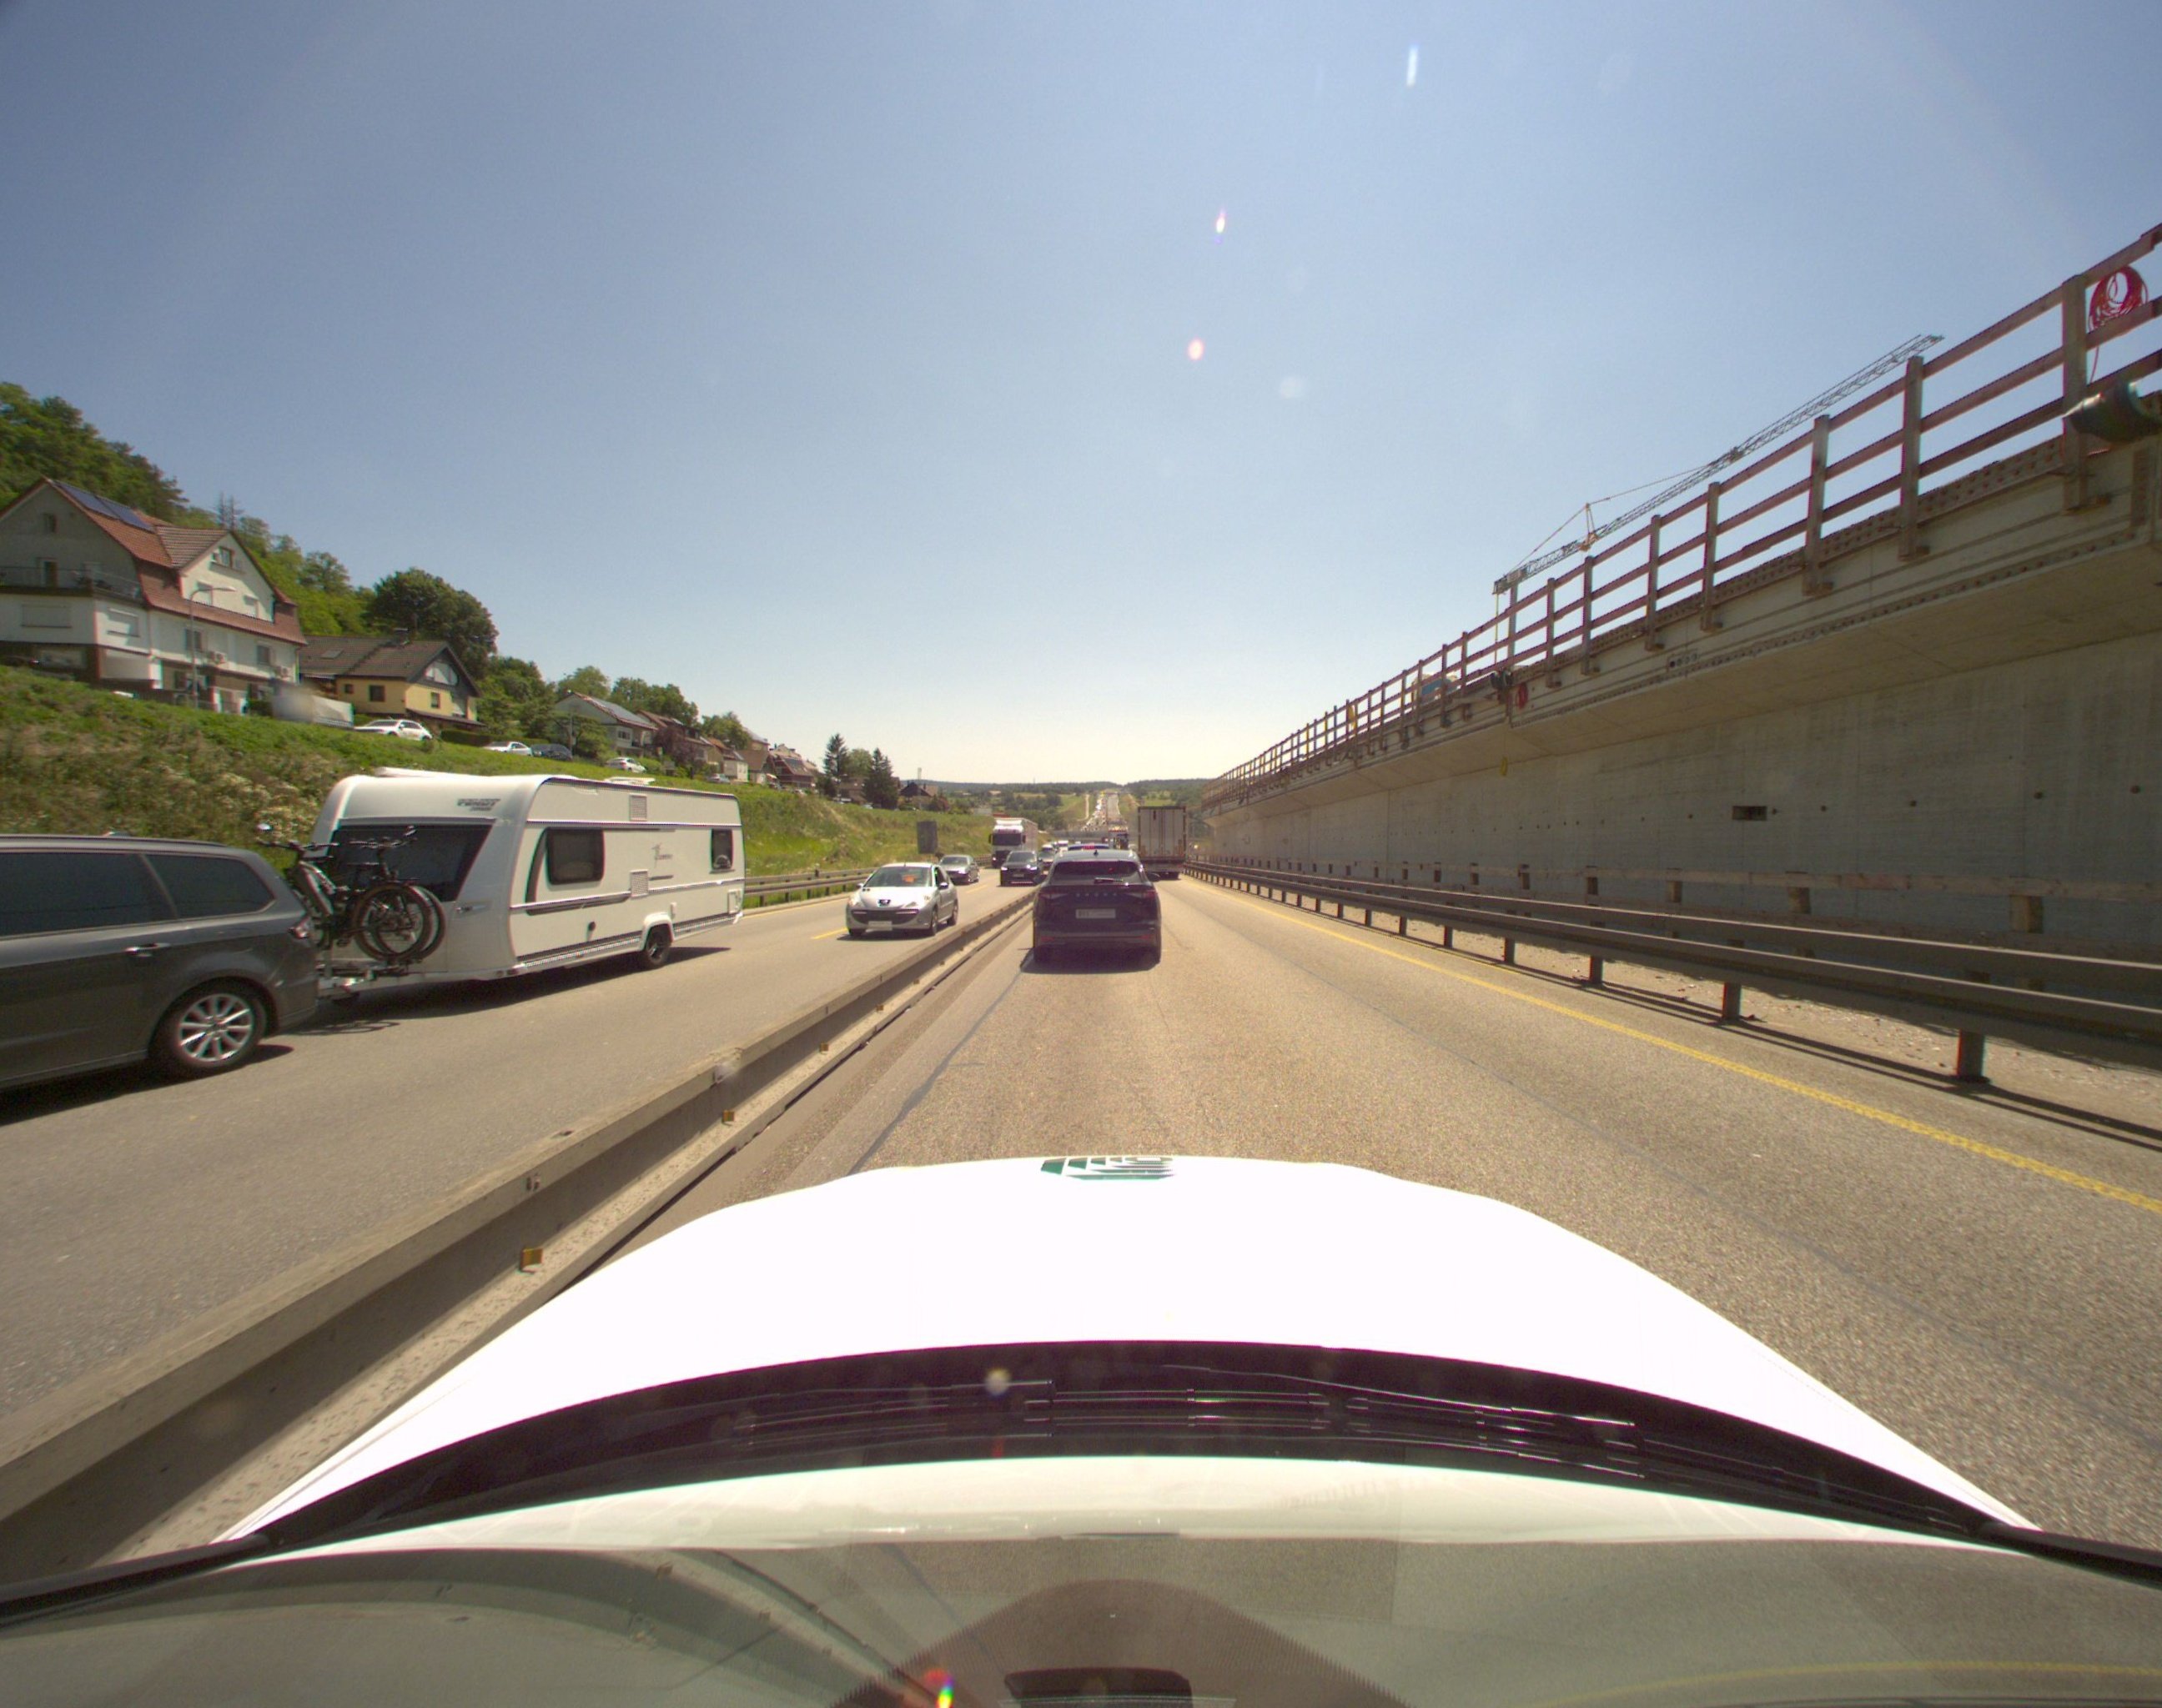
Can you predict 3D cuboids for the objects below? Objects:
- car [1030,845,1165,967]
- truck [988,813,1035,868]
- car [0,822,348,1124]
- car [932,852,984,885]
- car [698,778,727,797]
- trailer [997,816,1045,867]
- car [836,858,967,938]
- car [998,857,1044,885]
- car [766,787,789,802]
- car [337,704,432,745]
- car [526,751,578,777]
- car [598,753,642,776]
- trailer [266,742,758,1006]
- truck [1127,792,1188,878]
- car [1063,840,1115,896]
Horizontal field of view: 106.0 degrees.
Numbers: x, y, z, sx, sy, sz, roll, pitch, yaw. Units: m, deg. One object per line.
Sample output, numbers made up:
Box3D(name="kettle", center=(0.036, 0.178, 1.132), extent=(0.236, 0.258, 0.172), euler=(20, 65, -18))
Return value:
Box3D(name="car", center=(0.212, 0.697, 12.614), extent=(1.777, 1.597, 3.754), euler=(0, 0, 0))
Box3D(name="truck", center=(-5.729, -1.023, 68.429), extent=(2.743, 4.227, 8.102), euler=(3, -1, 2))
Box3D(name="car", center=(-7.083, 0.682, 4.432), extent=(1.870, 1.712, 4.649), euler=(0, 0, 2))
Box3D(name="car", center=(-6.134, 0.719, 40.961), extent=(1.866, 1.442, 4.000), euler=(3, -1, 0))
Box3D(name="car", center=(-40.501, -7.341, 89.617), extent=(1.925, 1.728, 3.987), euler=(0, 0, -9))
Box3D(name="trailer", center=(-5.442, -0.958, 76.964), extent=(2.750, 4.273, 14.638), euler=(3, -1, 2))
Box3D(name="car", center=(-3.565, 0.838, 16.913), extent=(1.696, 1.441, 4.001), euler=(-1, -1, 2))
Box3D(name="car", center=(-2.831, 0.814, 39.309), extent=(1.765, 1.288, 4.001), euler=(0, -1, 2))
Box3D(name="car", center=(-42.351, -8.318, 113.740), extent=(1.748, 1.728, 4.000), euler=(0, 0, 1))
Box3D(name="car", center=(-36.885, -6.831, 43.282), extent=(1.994, 1.320, 3.986), euler=(4, -1, -10))
Box3D(name="car", center=(-37.986, -6.453, 58.554), extent=(1.590, 1.419, 3.988), euler=(0, 0, -9))
Box3D(name="car", center=(-39.728, -7.702, 70.309), extent=(1.994, 1.320, 3.986), euler=(4, -1, -10))
Box3D(name="trailer", center=(-6.939, 0.250, 11.181), extent=(2.475, 2.613, 5.869), euler=(-1, -1, 2))
Box3D(name="truck", center=(4.479, -0.928, 49.994), extent=(2.835, 4.615, 11.813), euler=(1, -1, 1))
Box3D(name="car", center=(0.229, 0.515, 30.320), extent=(1.744, 1.895, 3.753), euler=(2, 0, -2))
